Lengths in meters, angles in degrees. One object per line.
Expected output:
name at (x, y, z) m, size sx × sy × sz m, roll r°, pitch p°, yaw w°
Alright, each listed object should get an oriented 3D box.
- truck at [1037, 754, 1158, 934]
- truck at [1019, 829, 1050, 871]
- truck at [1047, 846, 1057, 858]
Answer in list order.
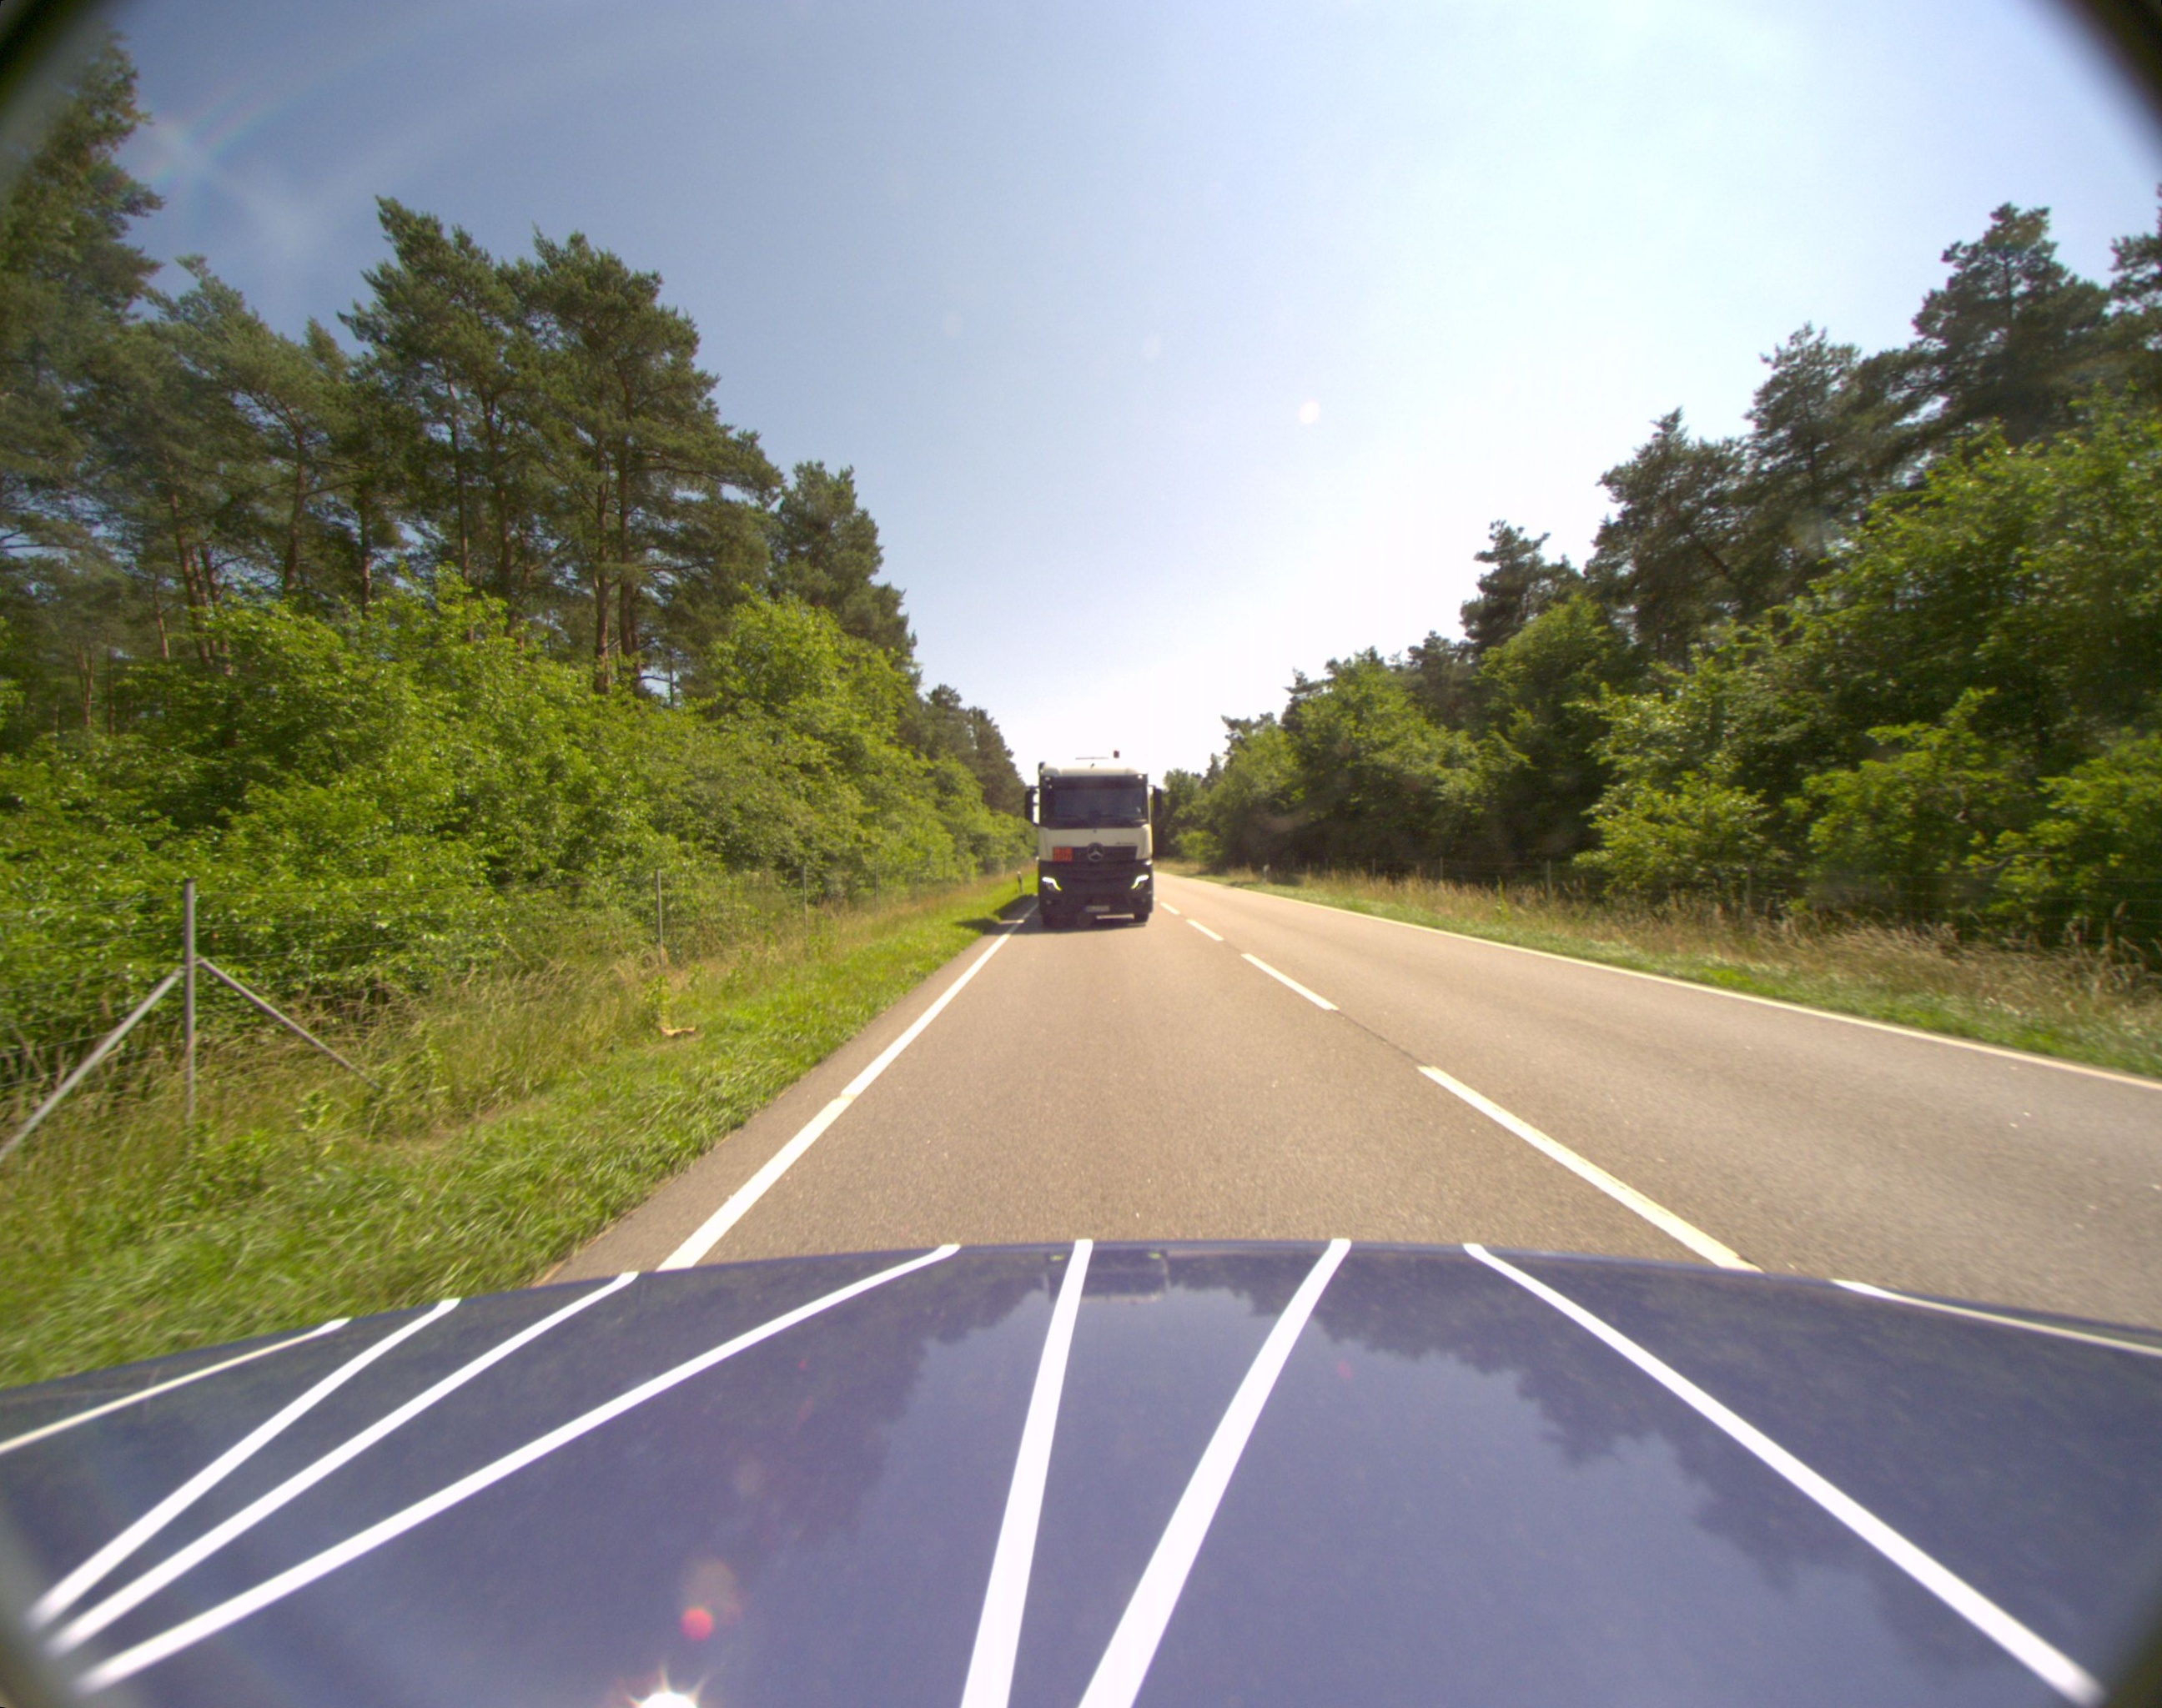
truck at (0.362, -0.197, 18.909) m, size 2.435 × 3.672 × 6.457 m, roll -1°, pitch 0°, yaw 0°
truck at (-4.165, -0.329, 69.240) m, size 2.494 × 3.619 × 6.102 m, roll -2°, pitch 0°, yaw -1°
truck at (-9.121, -0.652, 236.718) m, size 2.495 × 3.619 × 6.099 m, roll -2°, pitch 0°, yaw -7°
